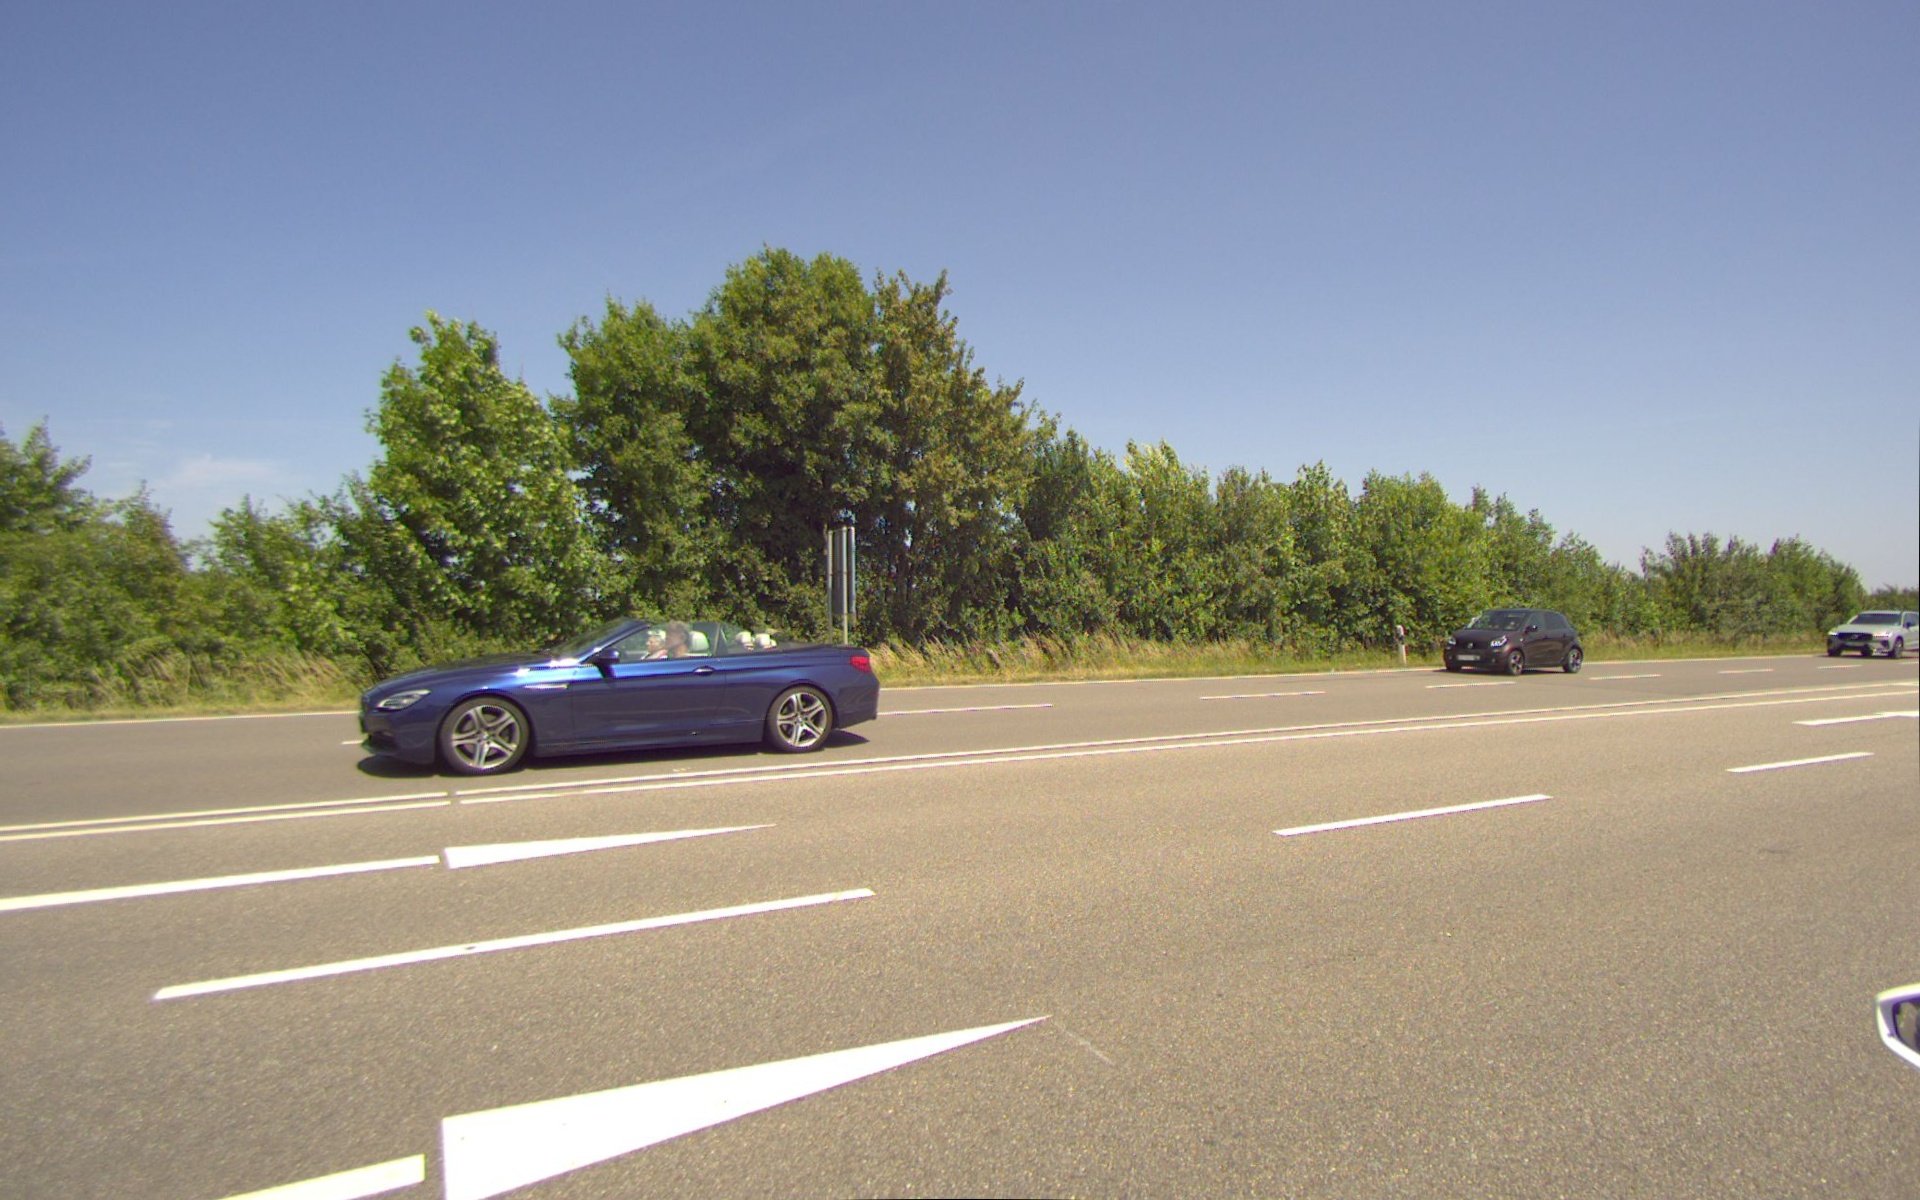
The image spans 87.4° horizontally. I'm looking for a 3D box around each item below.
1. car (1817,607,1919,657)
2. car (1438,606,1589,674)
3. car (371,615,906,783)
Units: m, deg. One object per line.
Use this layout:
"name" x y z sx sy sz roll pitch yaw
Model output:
"car" 32.660 1.115 35.715 4.517 1.661 2.017 1 0 -31
"car" 13.305 0.934 24.108 3.518 1.507 1.636 1 0 -31
"car" -3.033 0.817 9.874 4.709 1.297 1.796 1 0 -30
